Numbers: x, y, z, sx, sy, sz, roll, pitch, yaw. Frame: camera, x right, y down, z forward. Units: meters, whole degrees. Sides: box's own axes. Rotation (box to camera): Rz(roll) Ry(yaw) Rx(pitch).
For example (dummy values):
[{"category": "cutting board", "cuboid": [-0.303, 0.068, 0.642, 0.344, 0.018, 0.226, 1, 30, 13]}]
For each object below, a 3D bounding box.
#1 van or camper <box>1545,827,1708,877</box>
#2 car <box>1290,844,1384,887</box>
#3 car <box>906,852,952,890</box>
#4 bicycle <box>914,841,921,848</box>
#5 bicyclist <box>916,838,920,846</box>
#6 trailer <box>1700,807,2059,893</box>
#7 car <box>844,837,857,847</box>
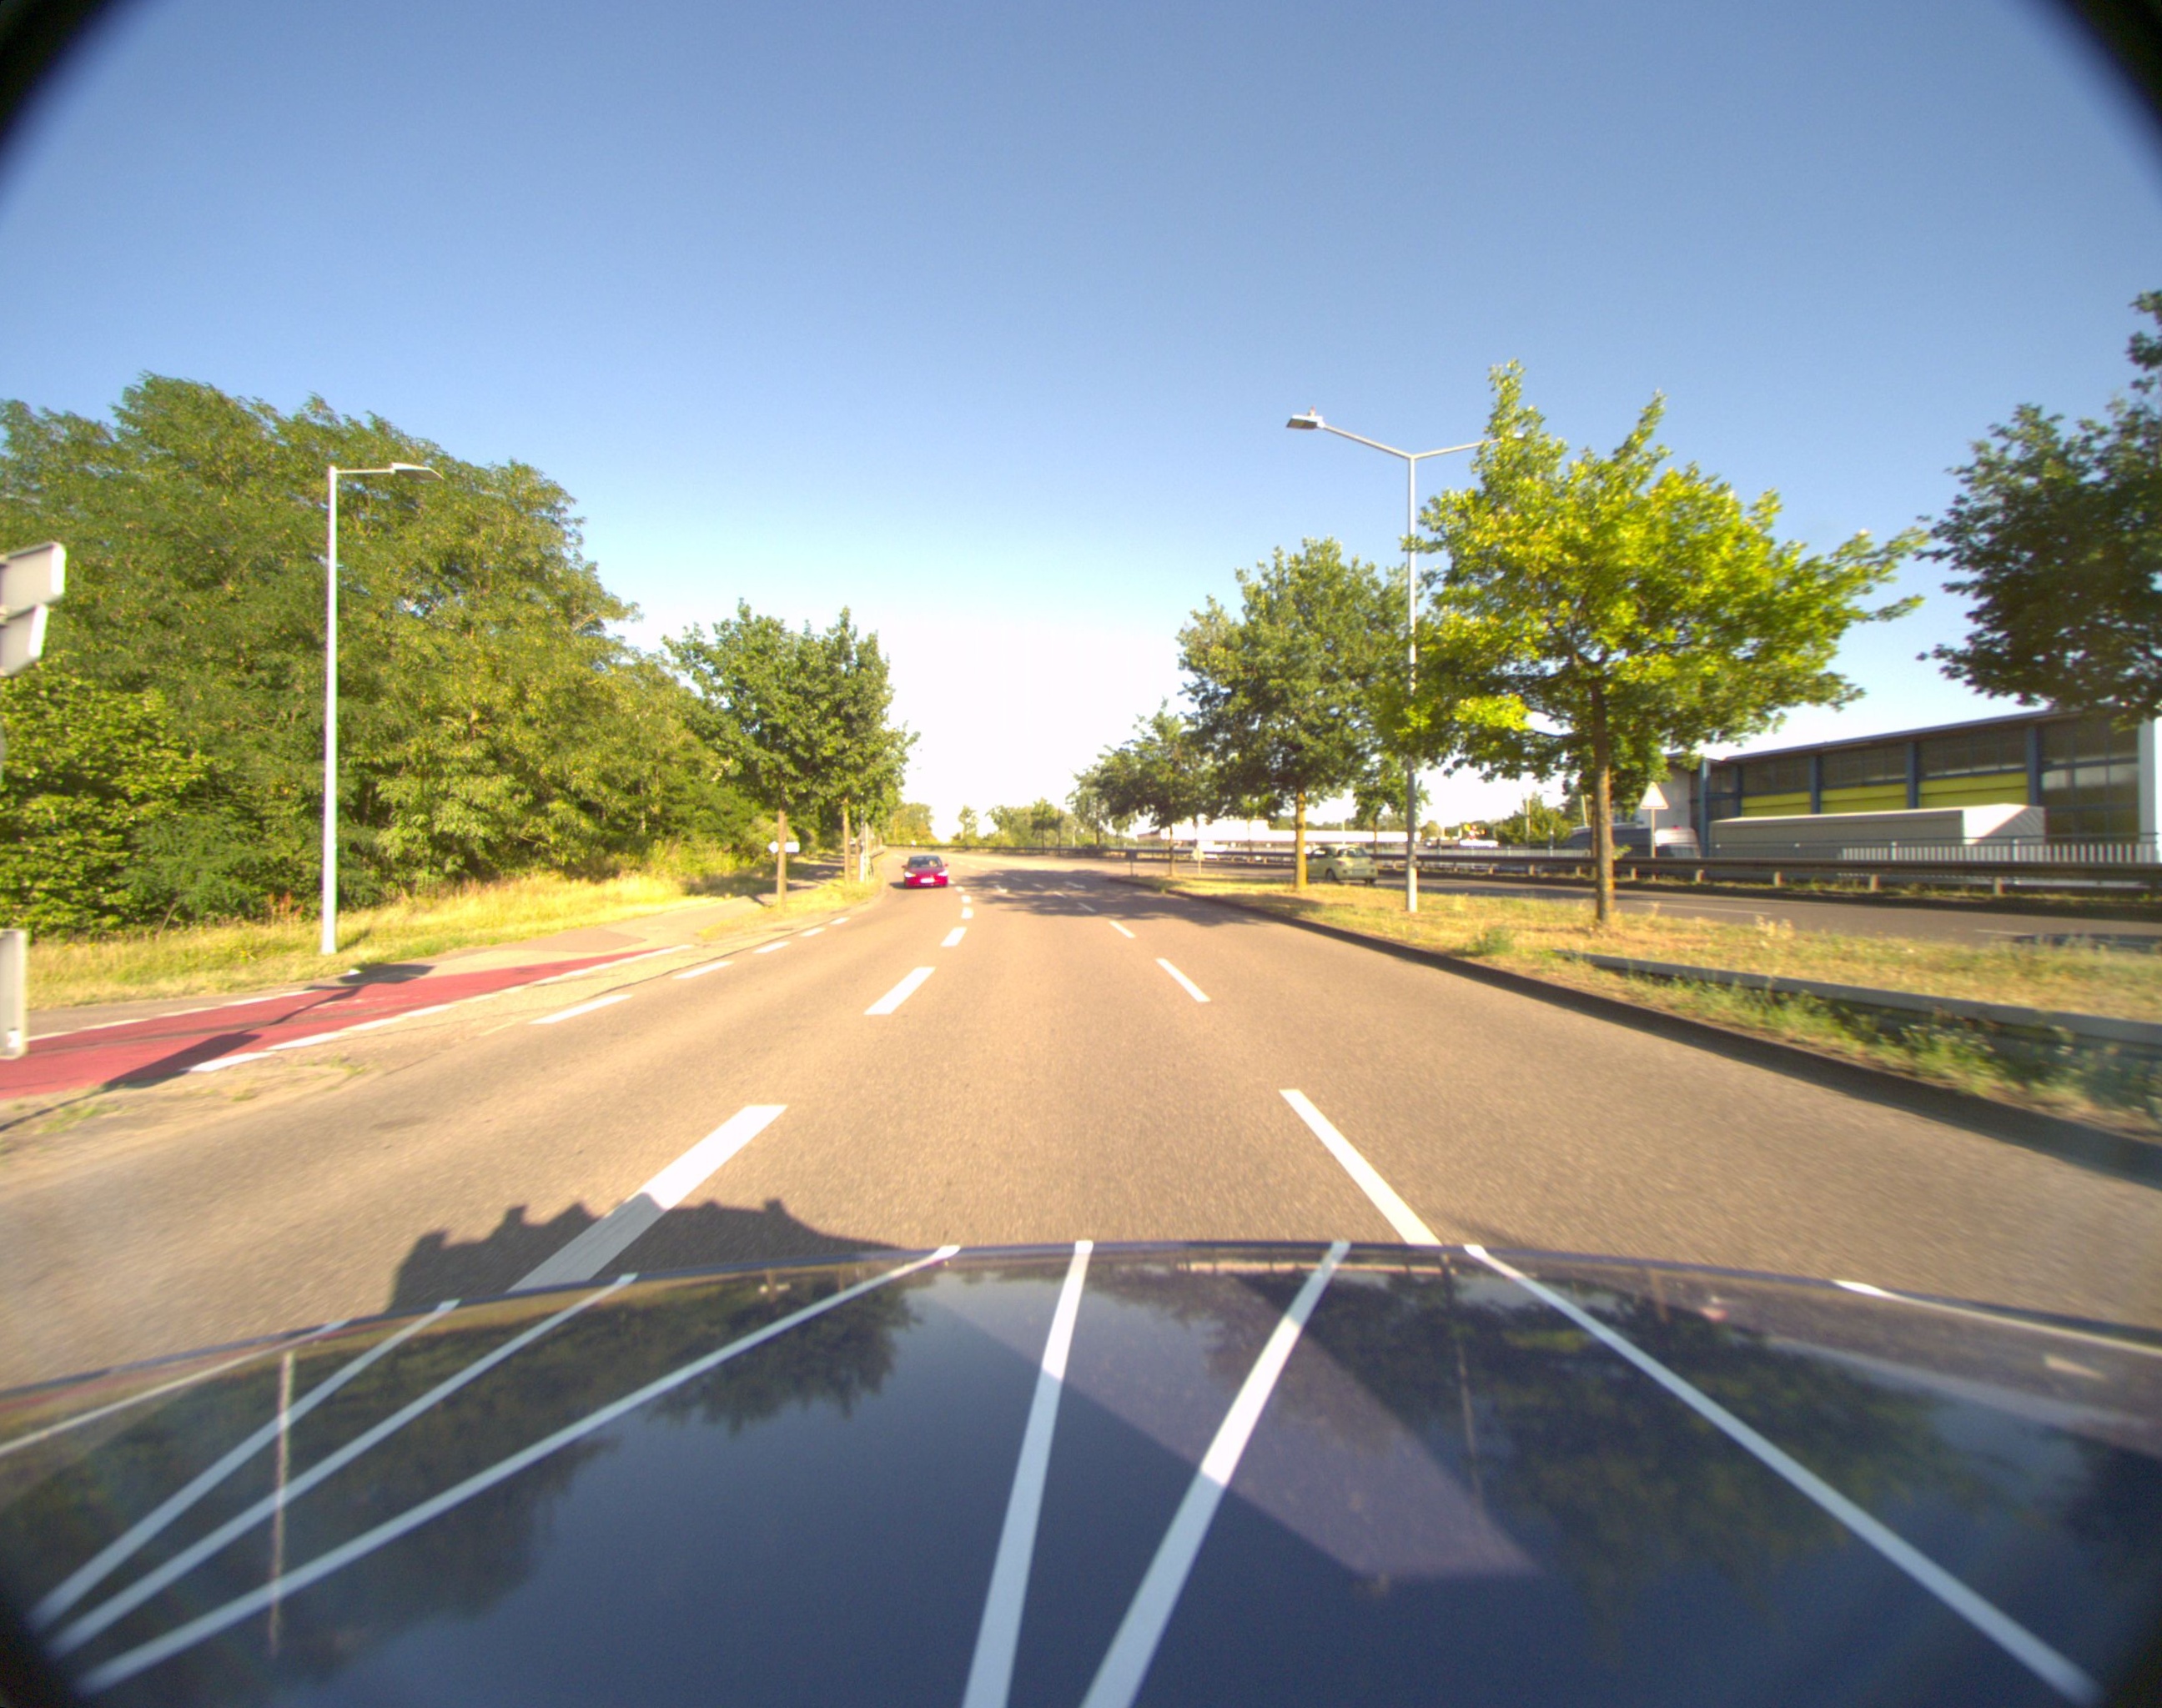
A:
[{"category": "van or camper", "cuboid": [20.004, -0.102, 28.211, 2.000, 1.676, 4.955, -1, 1, -9]}, {"category": "car", "cuboid": [9.525, 0.378, 28.591, 1.746, 1.454, 3.762, -2, 1, -10]}, {"category": "car", "cuboid": [-6.927, 0.704, 34.285, 1.784, 1.434, 4.352, -1, 2, -14]}, {"category": "bicycle", "cuboid": [-28.777, -1.712, 133.625, 0.585, 1.071, 2.307, 1, 1, -26]}, {"category": "bicyclist", "cuboid": [-28.600, -2.095, 133.272, 0.602, 1.451, 0.826, 1, 2, -26]}, {"category": "trailer", "cuboid": [21.239, -0.144, 20.906, 2.427, 1.958, 6.599, -1, 1, -8]}, {"category": "car", "cuboid": [-52.196, -2.752, 171.833, 1.886, 2.003, 5.247, -2, 3, -26]}]
